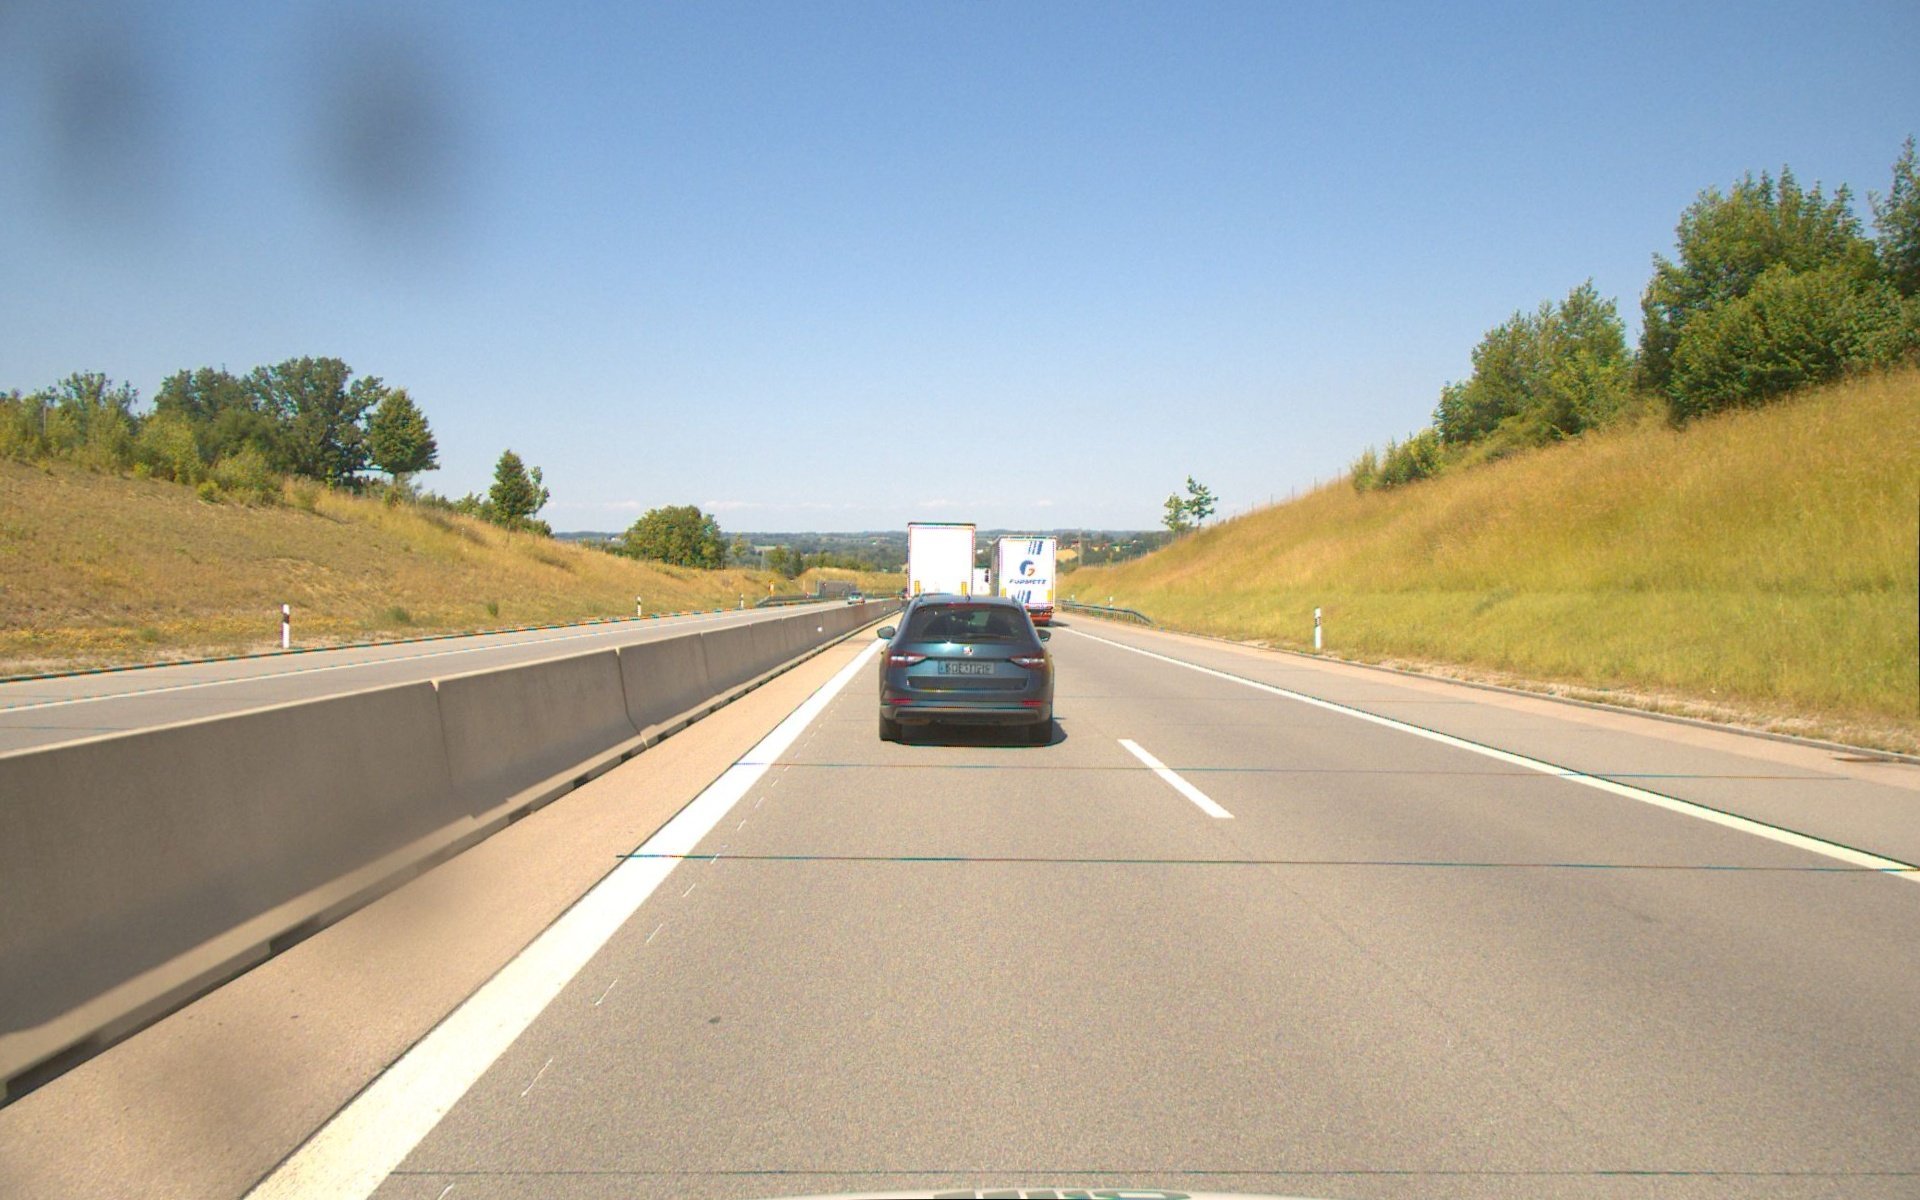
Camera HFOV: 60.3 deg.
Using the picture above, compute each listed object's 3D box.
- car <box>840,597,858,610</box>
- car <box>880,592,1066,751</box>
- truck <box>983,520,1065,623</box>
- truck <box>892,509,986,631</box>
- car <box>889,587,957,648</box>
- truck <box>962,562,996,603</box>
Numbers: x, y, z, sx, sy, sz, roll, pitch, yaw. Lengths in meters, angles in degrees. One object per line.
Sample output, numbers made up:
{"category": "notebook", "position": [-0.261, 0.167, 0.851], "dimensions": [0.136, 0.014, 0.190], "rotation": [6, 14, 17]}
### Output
{"category": "car", "position": [-12.662, 0.399, 188.515], "dimensions": [1.766, 1.497, 4.526], "rotation": [0, 0, -1]}
{"category": "car", "position": [0.067, 0.662, 17.473], "dimensions": [1.741, 1.466, 3.787], "rotation": [-1, 0, -2]}
{"category": "truck", "position": [3.023, -1.327, 79.026], "dimensions": [3.530, 4.457, 11.236], "rotation": [-2, 0, 2]}
{"category": "truck", "position": [-0.687, -1.175, 67.481], "dimensions": [3.144, 4.457, 11.237], "rotation": [-2, 0, 2]}
{"category": "car", "position": [-0.995, 0.427, 43.607], "dimensions": [1.666, 1.466, 3.999], "rotation": [-2, 0, -2]}
{"category": "truck", "position": [2.220, -1.984, 188.123], "dimensions": [3.530, 4.457, 11.236], "rotation": [-2, 0, 2]}
